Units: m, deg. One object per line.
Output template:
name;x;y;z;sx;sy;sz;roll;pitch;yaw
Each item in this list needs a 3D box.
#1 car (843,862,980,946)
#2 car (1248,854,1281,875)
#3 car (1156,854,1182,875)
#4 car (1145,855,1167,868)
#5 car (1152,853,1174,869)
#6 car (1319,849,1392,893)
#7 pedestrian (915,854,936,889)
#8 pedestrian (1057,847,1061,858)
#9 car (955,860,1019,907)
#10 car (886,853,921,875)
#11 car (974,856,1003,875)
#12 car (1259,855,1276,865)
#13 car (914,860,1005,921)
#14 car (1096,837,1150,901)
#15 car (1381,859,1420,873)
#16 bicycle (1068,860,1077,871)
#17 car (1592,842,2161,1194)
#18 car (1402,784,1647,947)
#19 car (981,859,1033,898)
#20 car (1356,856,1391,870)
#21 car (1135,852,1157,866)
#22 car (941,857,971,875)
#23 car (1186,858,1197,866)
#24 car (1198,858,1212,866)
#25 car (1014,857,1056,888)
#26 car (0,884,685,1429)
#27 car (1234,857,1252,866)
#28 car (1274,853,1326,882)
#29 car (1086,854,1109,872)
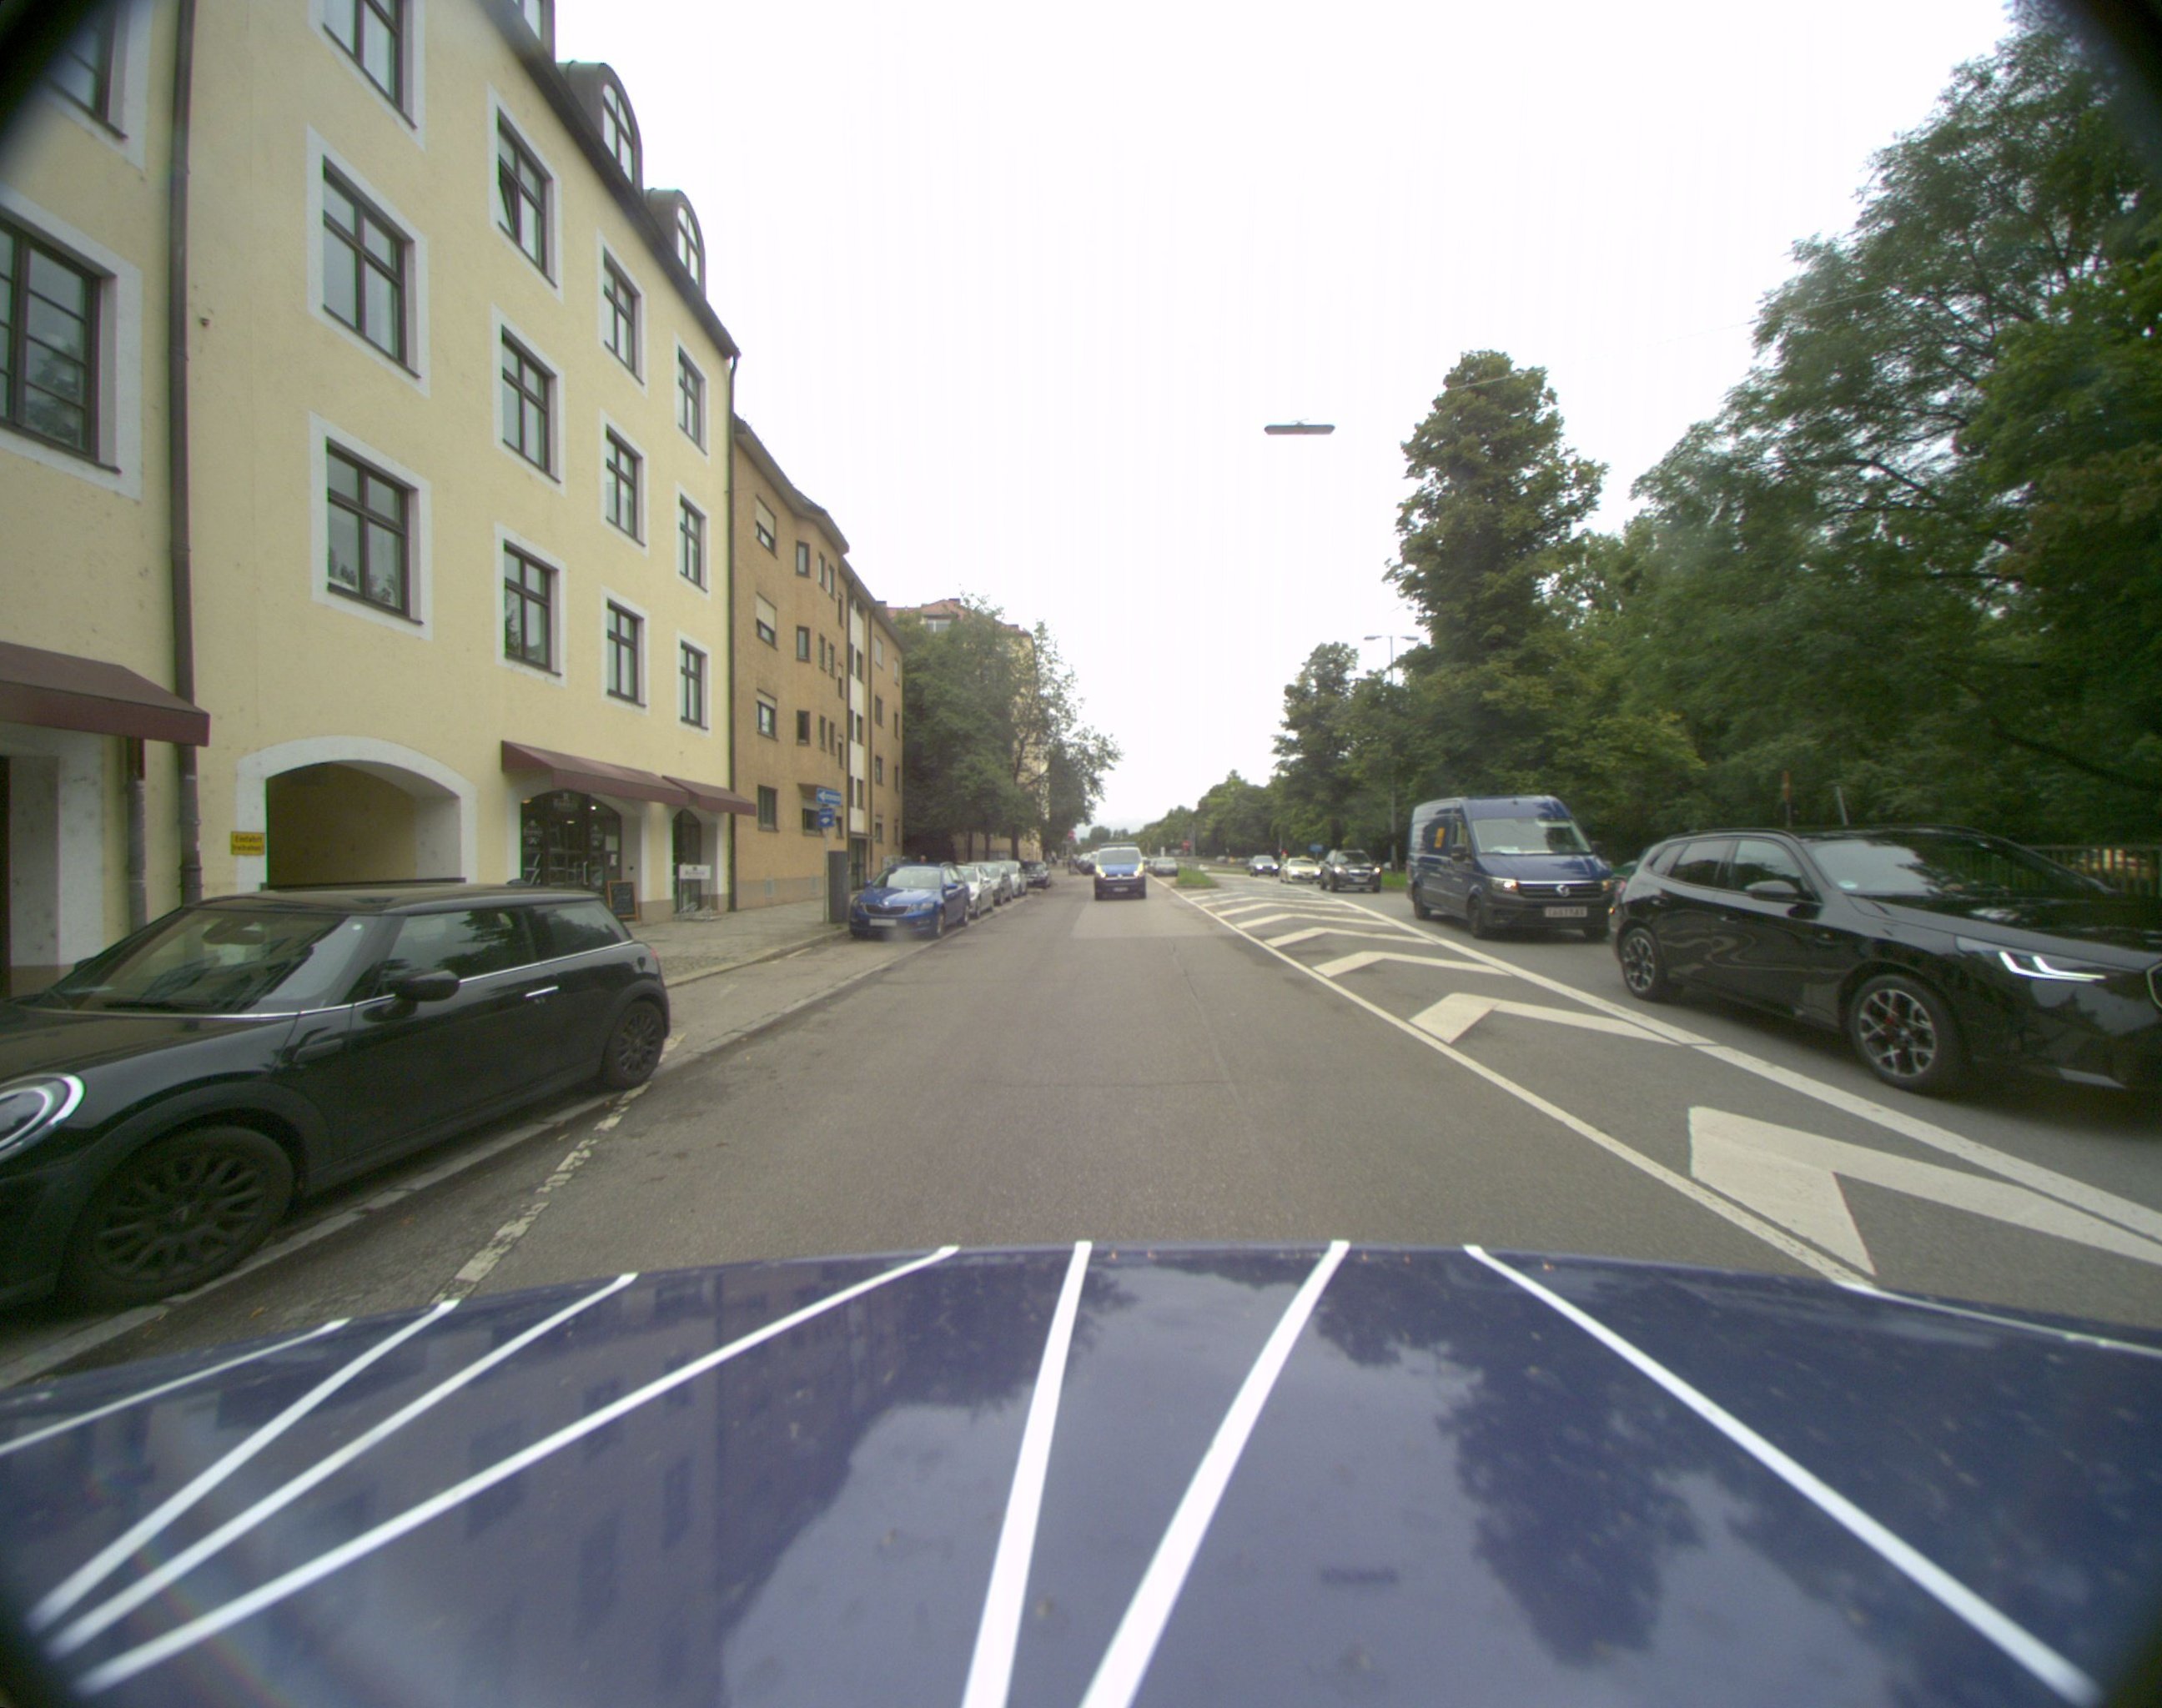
car;-3.436;0.939;16.326;1.761;1.487;4.488;1;0;2
car;14.533;0.801;60.302;1.991;1.556;4.275;0;0;6
car;6.879;0.784;59.574;1.902;1.556;4.773;0;0;6
car;8.487;0.873;86.435;1.992;1.447;4.282;0;0;-2
car;8.128;0.669;75.545;1.991;1.556;4.284;0;0;4
car;10.679;0.622;29.889;1.990;1.618;4.276;0;0;10
pedestrian;-7.222;0.795;35.308;0.672;1.614;0.980;-1;1;3
pedestrian;-3.723;-0.246;130.115;0.458;2.002;0.617;0;0;-17
car;-3.207;0.966;26.527;1.632;1.487;3.787;1;0;2
car;-14.661;0.804;62.993;1.917;1.741;4.244;0;0;-1
car;-7.637;0.939;63.029;2.054;1.458;4.244;0;0;-2
car;32.044;1.056;130.472;1.885;1.736;4.000;-1;0;0
car;-3.308;0.952;21.468;1.694;1.487;4.434;1;0;2
car;1.512;0.498;28.701;1.856;2.198;4.553;-1;1;1
car;33.172;1.226;78.975;1.999;1.438;4.524;1;0;-3
bicycle;-0.748;1.062;70.088;0.632;1.031;1.736;0;0;7
car;6.046;0.729;5.672;1.916;1.577;4.834;-1;0;10
car;7.940;0.135;14.469;2.187;2.450;5.855;0;1;11
car;-2.980;0.958;31.257;1.632;1.487;3.821;1;0;2
car;32.906;1.010;85.636;1.999;1.438;4.524;1;0;-3
car;8.171;0.599;95.908;2.075;1.692;5.089;-1;0;-2
car;-10.235;0.967;62.645;1.917;1.458;4.244;0;0;-2
car;22.927;1.651;157.817;1.896;1.438;4.034;0;0;3
car;22.488;1.448;137.919;1.832;1.438;4.235;1;0;-2
car;-2.415;0.938;40.514;1.796;1.488;4.376;2;0;2
car;-4.005;0.983;3.842;1.760;1.487;3.824;1;0;5
car;28.458;1.332;133.540;1.897;1.438;4.032;0;0;-4
car;12.169;0.715;42.494;1.991;1.556;4.656;0;0;6
car;1.591;0.834;71.882;2.129;1.556;4.508;-1;0;2
